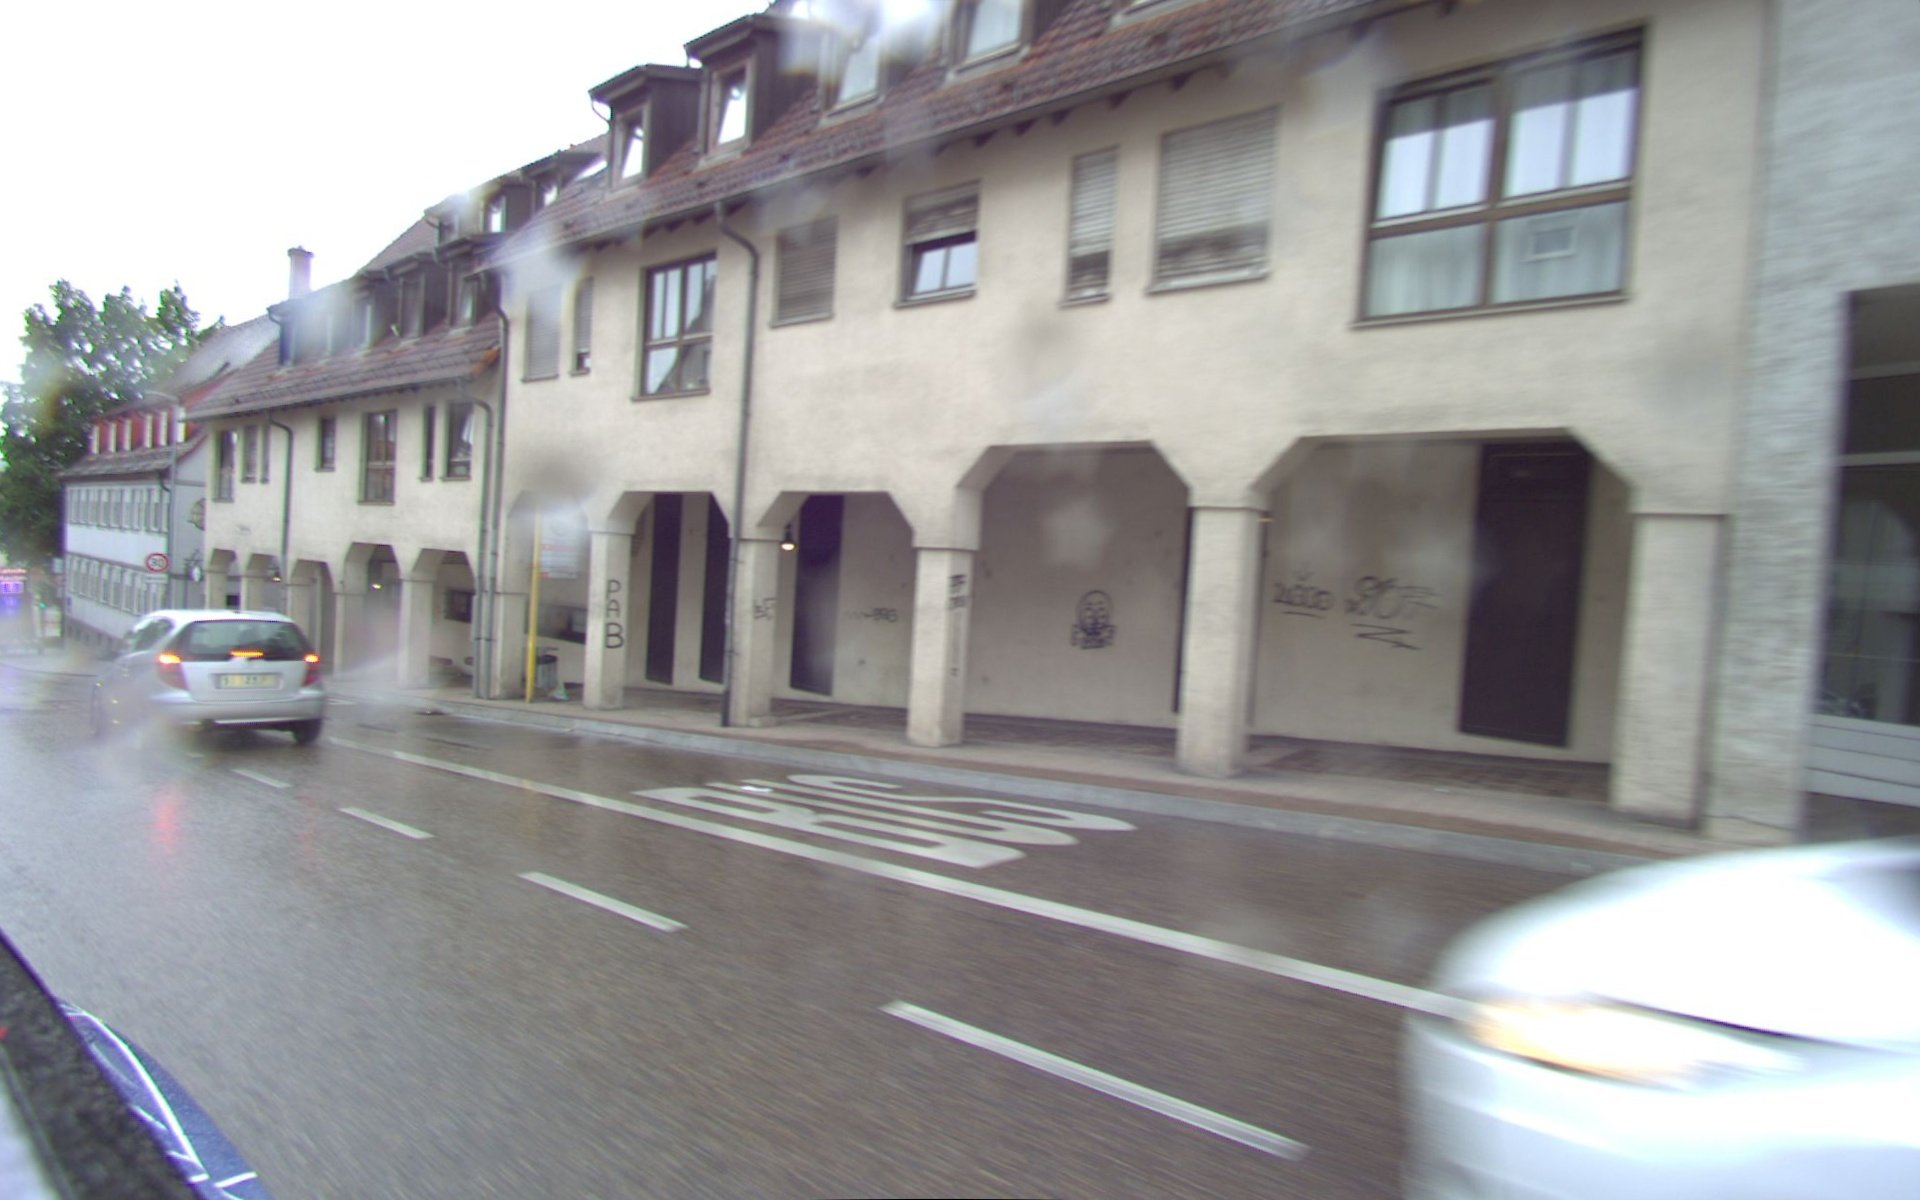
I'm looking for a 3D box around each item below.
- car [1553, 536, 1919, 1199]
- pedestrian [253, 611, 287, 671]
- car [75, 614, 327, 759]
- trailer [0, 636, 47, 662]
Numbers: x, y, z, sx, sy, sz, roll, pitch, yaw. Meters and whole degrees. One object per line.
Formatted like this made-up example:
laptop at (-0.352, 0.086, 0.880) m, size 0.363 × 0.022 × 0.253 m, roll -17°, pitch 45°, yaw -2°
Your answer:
car at (2.854, 0.675, 1.136) m, size 3.584 × 1.521 × 1.661 m, roll -1°, pitch -2°, yaw 39°
pedestrian at (-20.541, 1.204, 30.124) m, size 0.735 × 1.753 × 0.680 m, roll -1°, pitch 0°, yaw 43°
car at (-9.357, 0.945, 12.403) m, size 3.585 × 1.521 × 1.660 m, roll -1°, pitch -2°, yaw 39°
trailer at (-38.286, 1.965, 40.705) m, size 4.477 × 0.912 × 1.972 m, roll -1°, pitch -1°, yaw 43°
